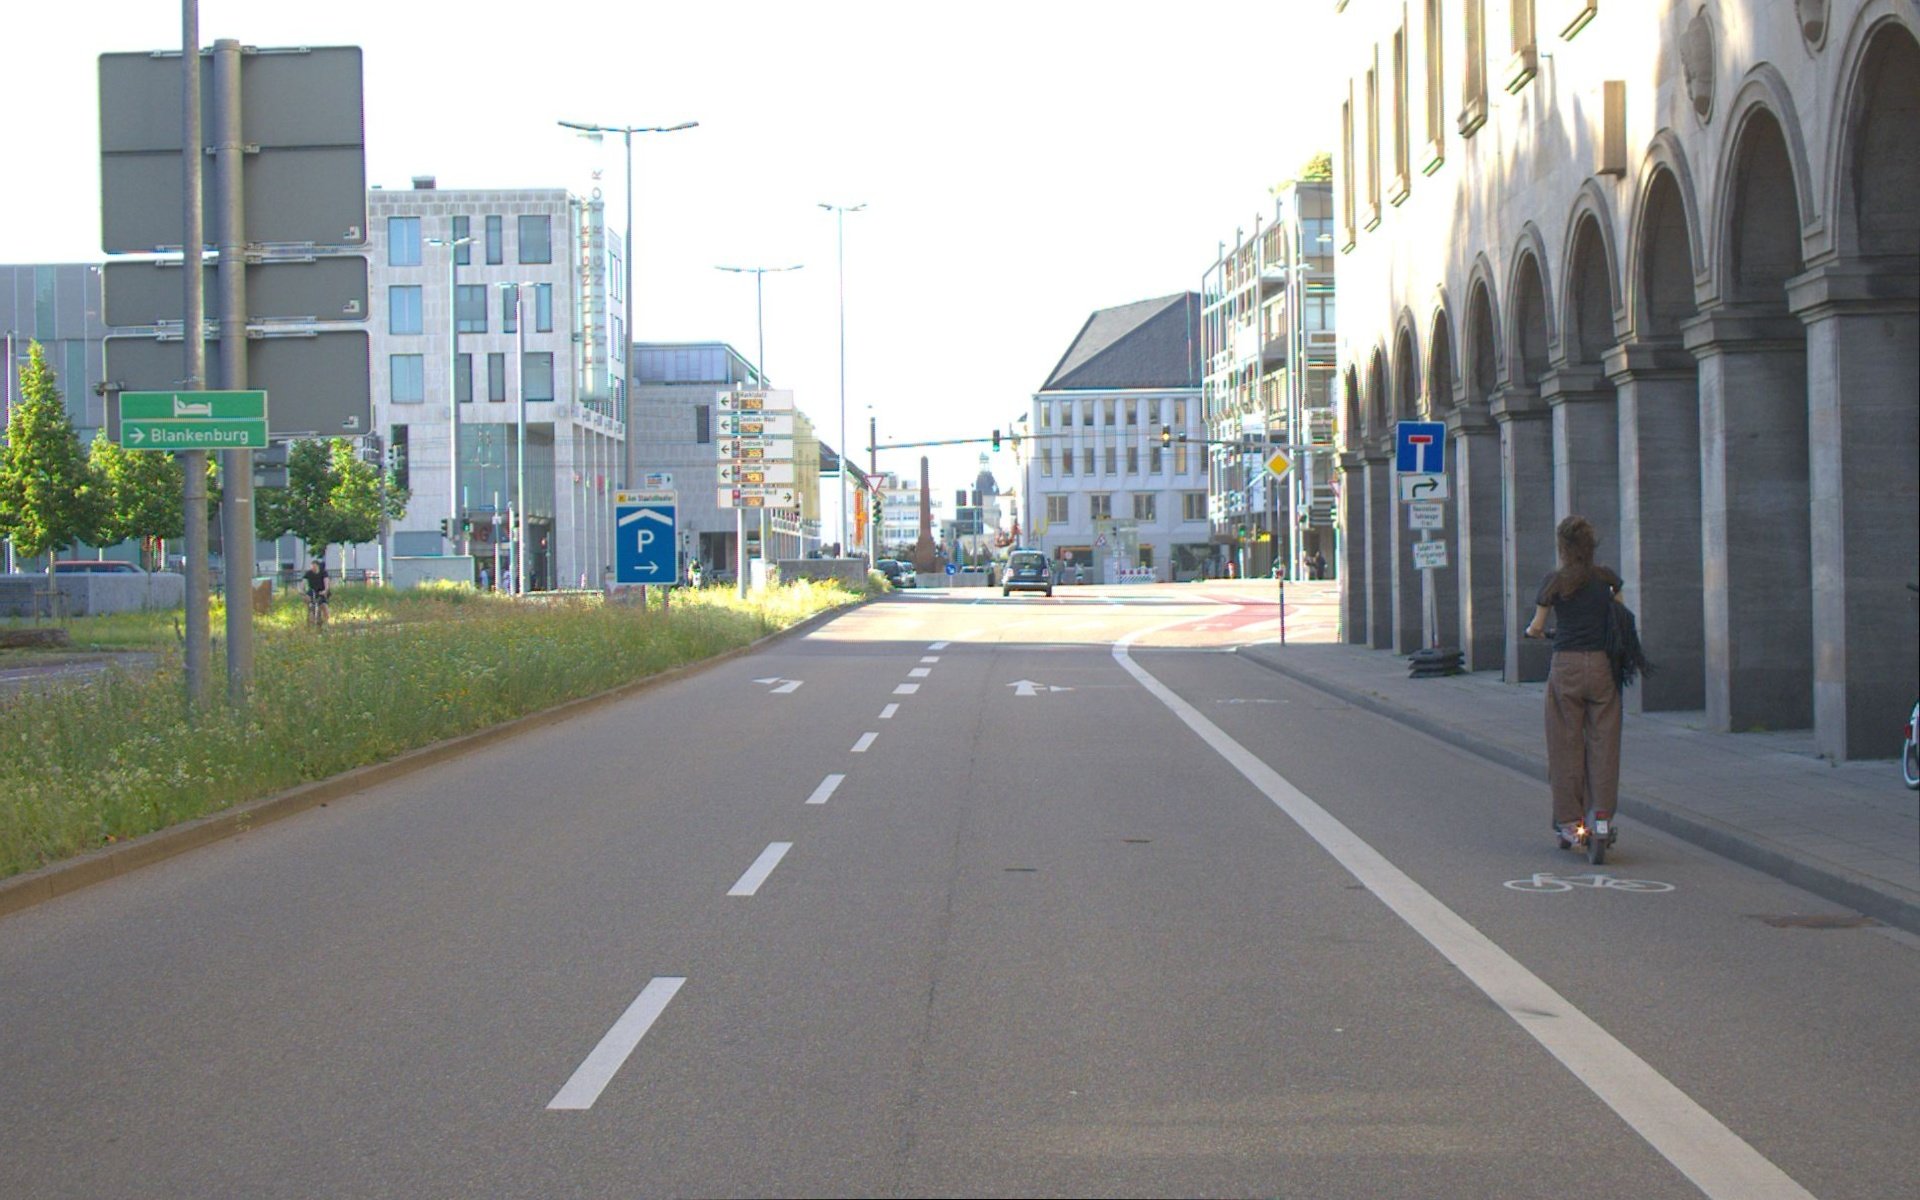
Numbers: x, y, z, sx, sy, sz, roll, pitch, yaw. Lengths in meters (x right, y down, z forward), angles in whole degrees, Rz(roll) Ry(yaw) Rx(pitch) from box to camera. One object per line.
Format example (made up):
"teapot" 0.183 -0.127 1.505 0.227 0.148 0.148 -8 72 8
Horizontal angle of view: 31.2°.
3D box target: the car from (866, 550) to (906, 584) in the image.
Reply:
"car" -4.034 -1.813 187.222 1.993 1.736 4.646 0 2 1

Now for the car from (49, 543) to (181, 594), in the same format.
"car" -32.226 -1.186 131.174 4.639 1.804 1.872 -1 -1 -6

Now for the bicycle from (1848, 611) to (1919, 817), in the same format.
"bicycle" 5.660 0.565 18.320 1.707 1.047 0.528 -3 1 -13

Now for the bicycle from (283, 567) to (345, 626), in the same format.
"bicycle" -14.453 -0.086 76.998 0.758 1.271 2.258 -1 1 5

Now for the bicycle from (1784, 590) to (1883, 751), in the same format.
"bicycle" 6.179 0.478 24.278 0.471 1.047 1.712 -2 1 20

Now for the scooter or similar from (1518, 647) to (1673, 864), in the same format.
"scooter or similar" 3.204 0.770 17.397 0.555 1.028 1.117 -1 1 -1

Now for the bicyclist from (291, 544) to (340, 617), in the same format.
"bicyclist" -14.448 -0.432 77.081 0.747 1.585 1.202 -1 0 5

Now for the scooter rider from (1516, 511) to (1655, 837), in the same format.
"scooter rider" 3.191 0.367 17.577 0.561 1.626 0.650 -1 0 -1

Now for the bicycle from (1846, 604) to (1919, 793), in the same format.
"bicycle" 5.952 0.543 20.243 0.611 1.047 1.709 -2 1 44

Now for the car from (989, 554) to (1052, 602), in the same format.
"car" 1.986 -0.732 113.438 1.776 1.558 3.790 -1 1 -3
